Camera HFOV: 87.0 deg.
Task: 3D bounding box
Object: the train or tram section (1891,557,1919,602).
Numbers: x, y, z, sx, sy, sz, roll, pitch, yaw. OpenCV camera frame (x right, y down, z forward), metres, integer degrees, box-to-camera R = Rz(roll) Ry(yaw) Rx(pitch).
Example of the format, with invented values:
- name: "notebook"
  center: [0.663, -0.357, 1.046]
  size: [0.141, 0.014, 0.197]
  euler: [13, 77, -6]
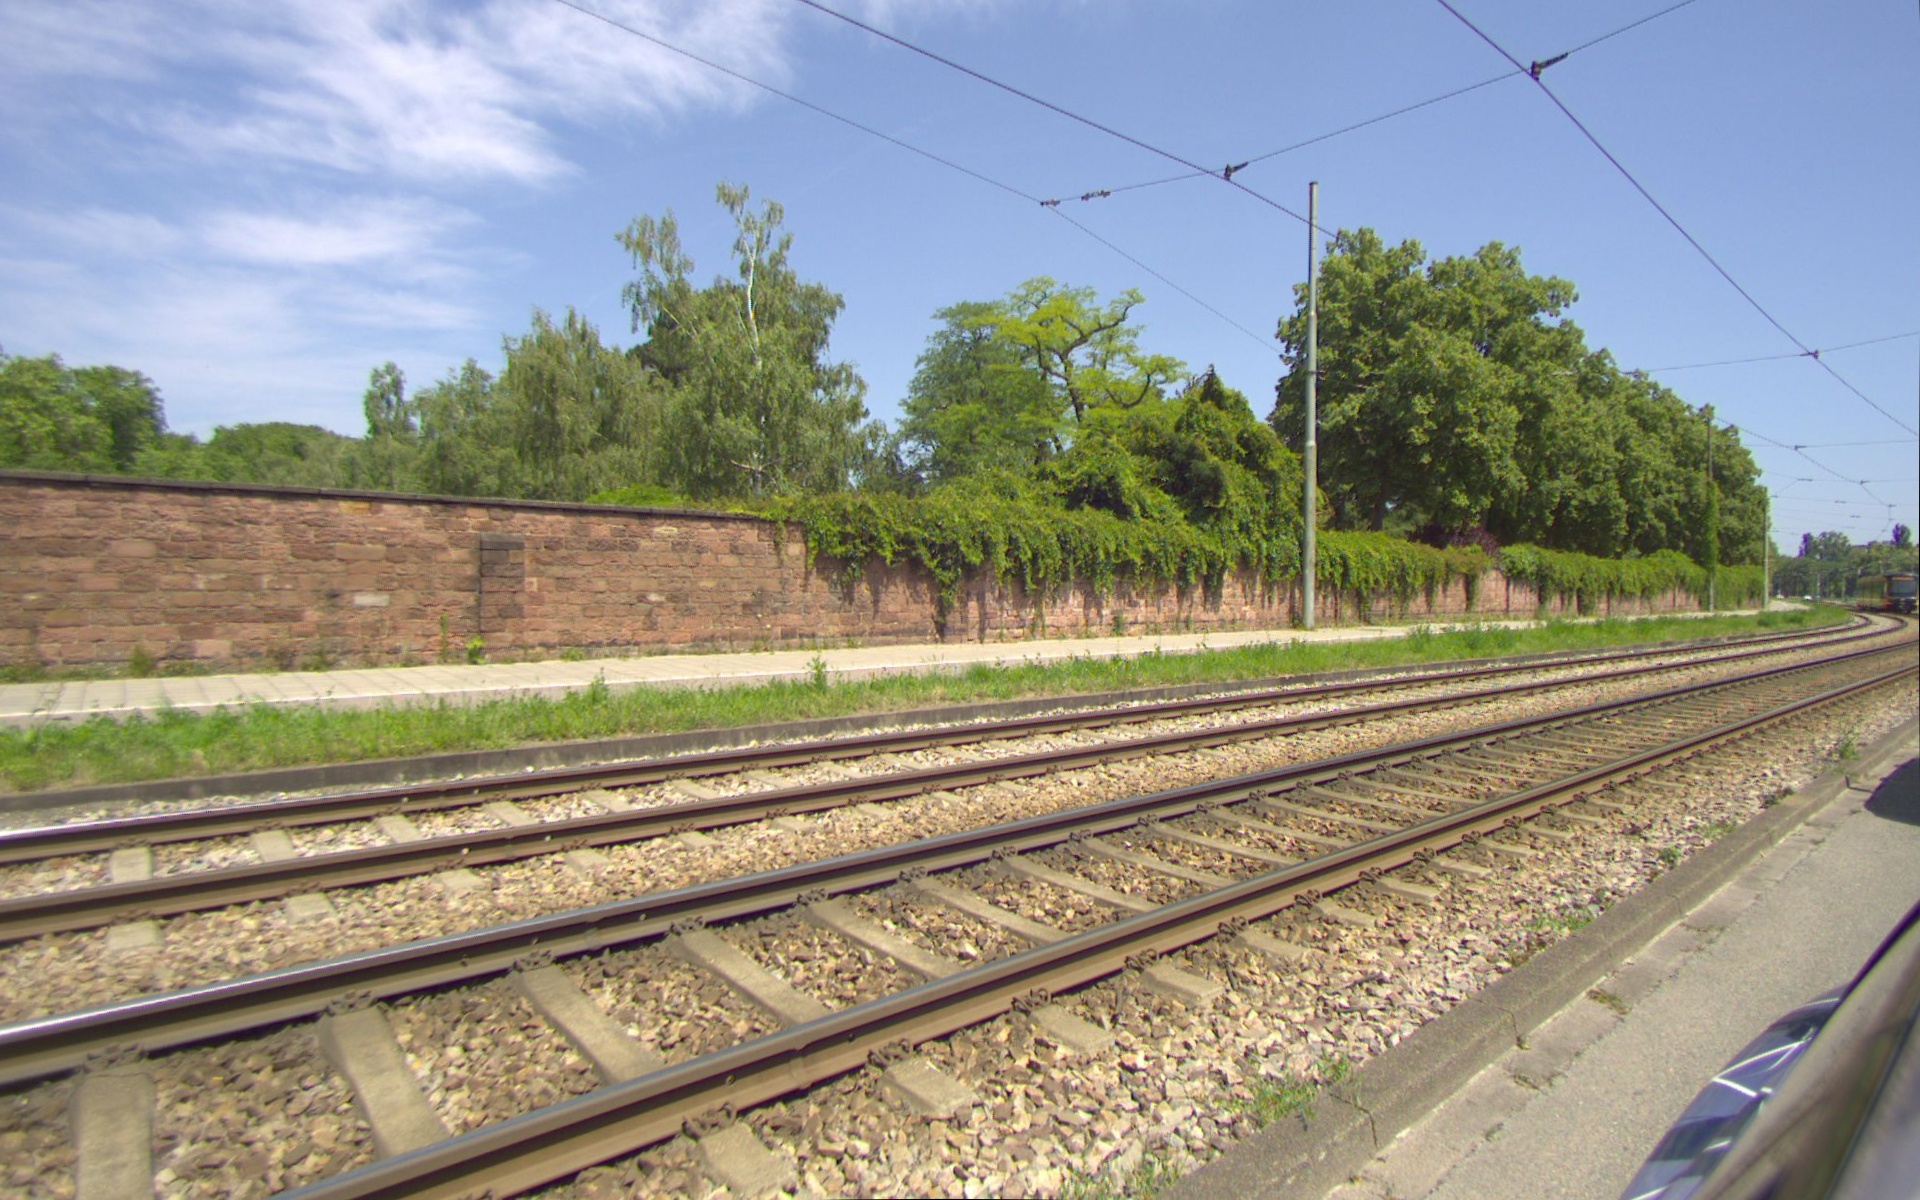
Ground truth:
- name: "train or tram section"
  center: [86.561, -1.852, 91.515]
  size: [14.029, 3.855, 2.808]
  euler: [-1, 1, -45]
